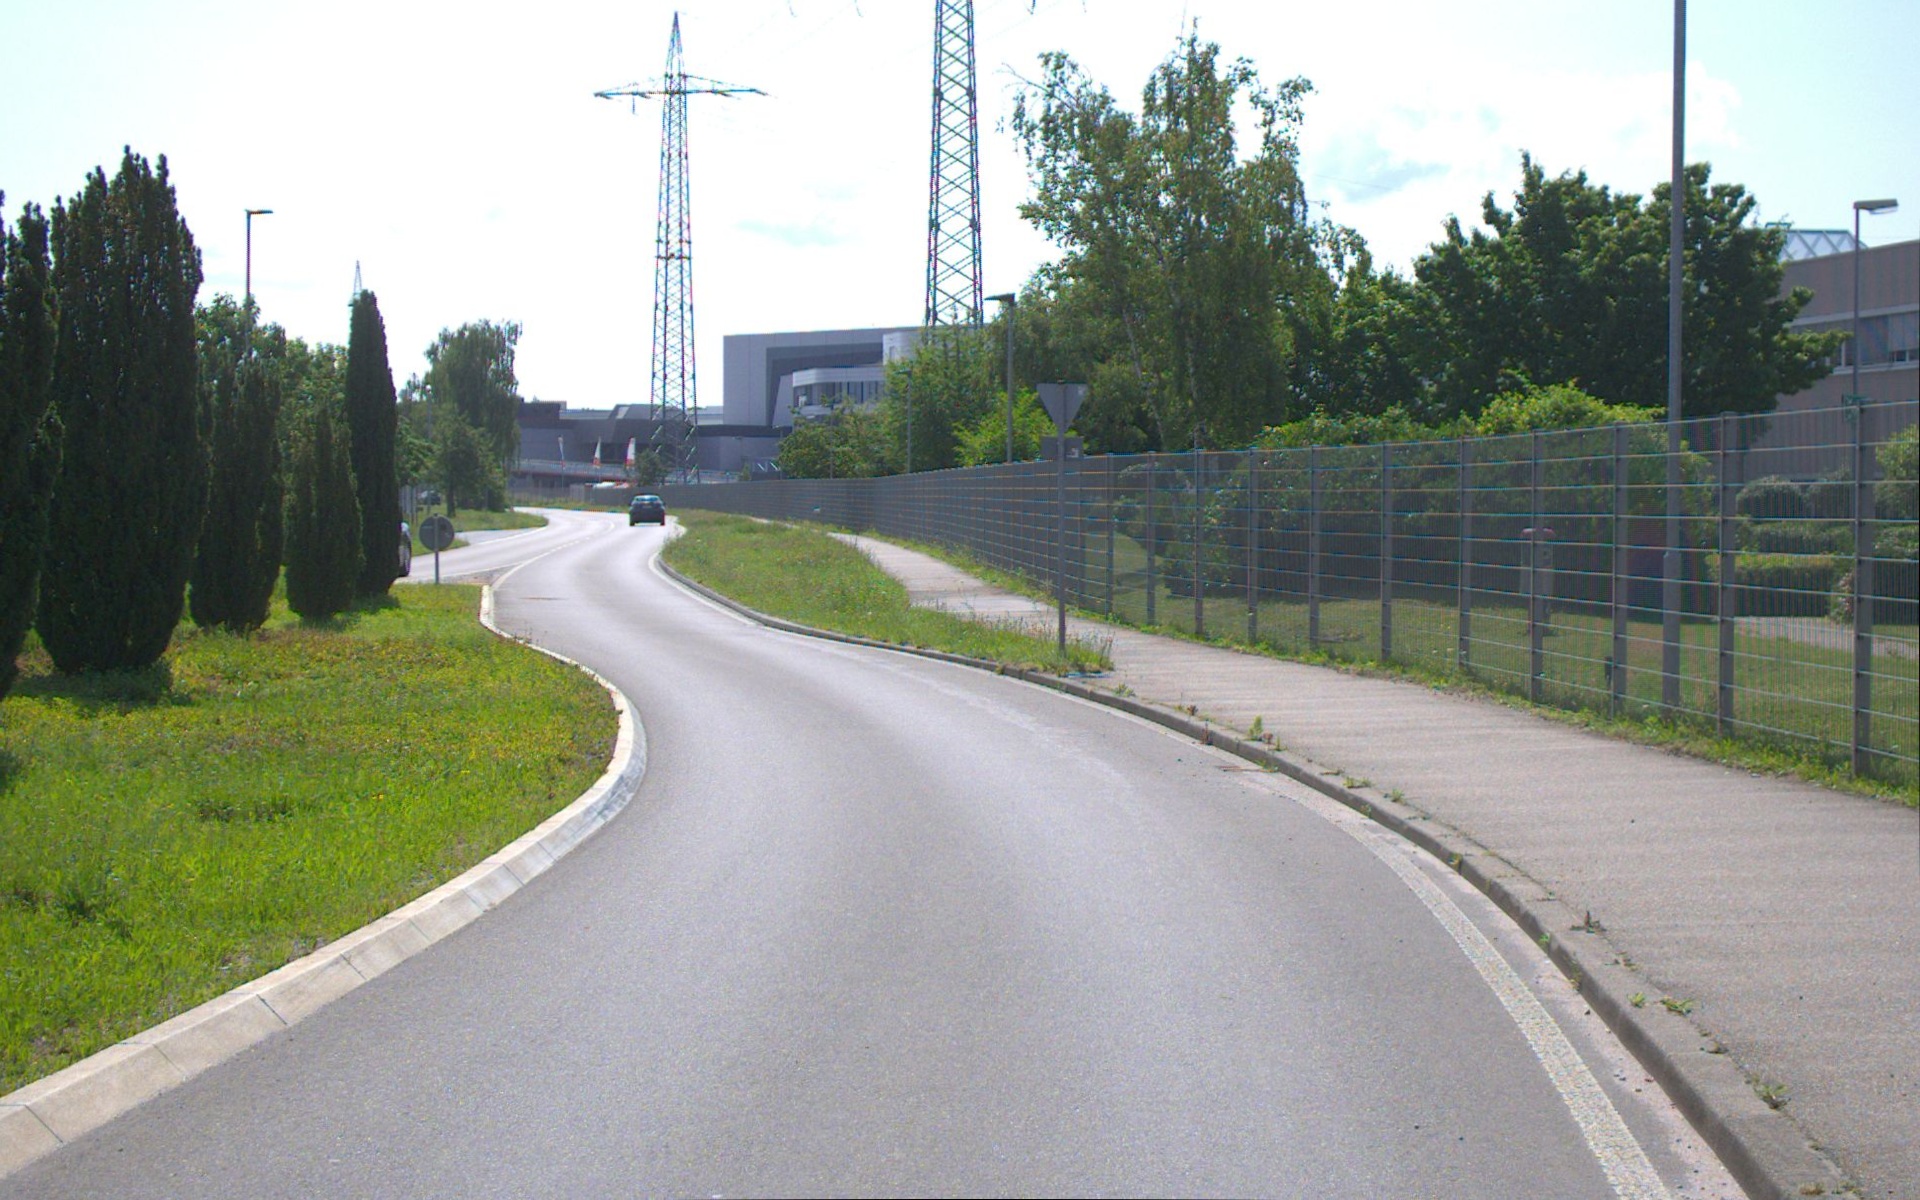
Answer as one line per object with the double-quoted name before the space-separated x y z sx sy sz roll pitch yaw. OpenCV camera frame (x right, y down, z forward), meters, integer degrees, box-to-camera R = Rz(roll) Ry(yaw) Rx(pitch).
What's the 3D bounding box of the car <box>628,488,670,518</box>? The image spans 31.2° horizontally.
"car" -15.876 -4.926 175.212 2.011 1.503 4.001 0 1 -7
